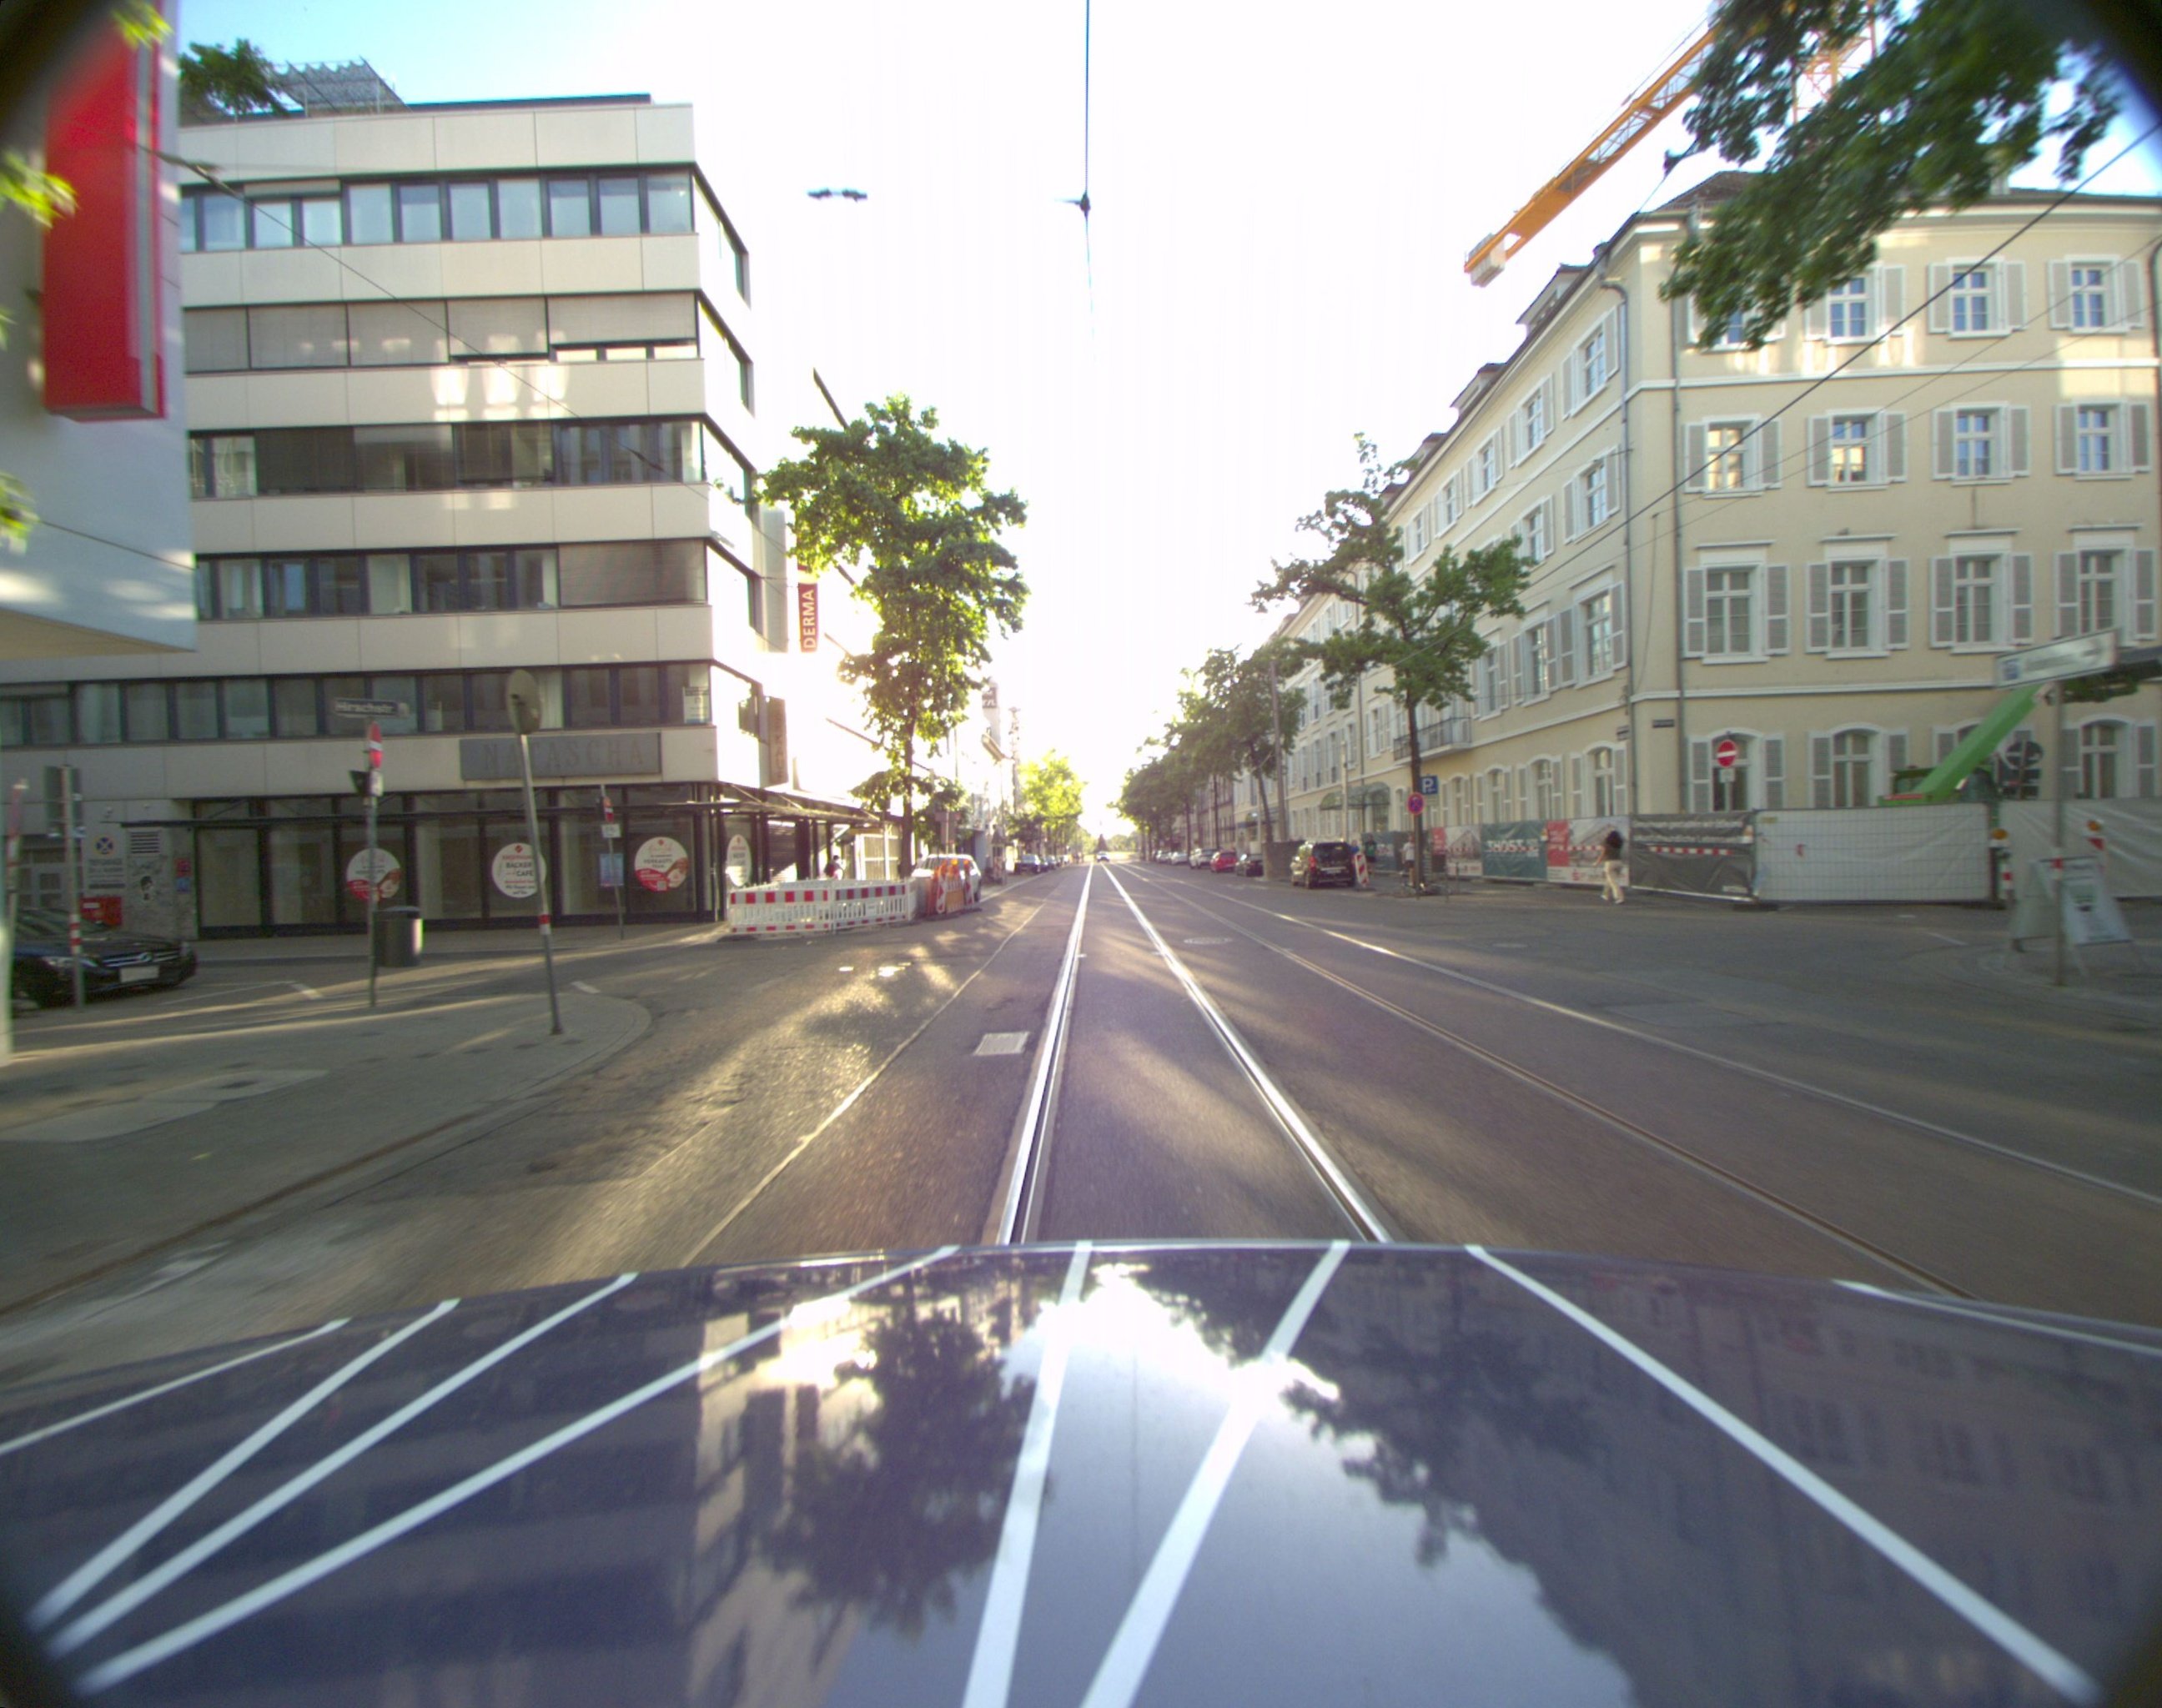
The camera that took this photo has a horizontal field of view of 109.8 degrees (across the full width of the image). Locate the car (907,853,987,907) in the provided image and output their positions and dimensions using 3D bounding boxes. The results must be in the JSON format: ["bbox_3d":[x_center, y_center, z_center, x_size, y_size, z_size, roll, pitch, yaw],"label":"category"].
[{"bbox_3d":[-4.711,0.859,27.442,2.028,1.727,4.906,1,0,0],"label":"car"}]

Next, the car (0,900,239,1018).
[{"bbox_3d":[-15.842,1.563,11.383,4.327,1.410,1.796,-2,2,0],"label":"car"}]

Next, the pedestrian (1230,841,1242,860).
[{"bbox_3d":[13.409,-0.307,65.681,0.746,1.571,0.933,-4,1,1],"label":"pedestrian"}]

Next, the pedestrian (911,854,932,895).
[{"bbox_3d":[-7.108,0.911,33.889,0.707,1.820,0.634,-2,1,1],"label":"pedestrian"}]

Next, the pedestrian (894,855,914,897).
[{"bbox_3d":[-7.846,0.981,33.682,0.690,1.820,0.634,-2,1,1],"label":"pedestrian"}]

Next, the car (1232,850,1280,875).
[{"bbox_3d":[10.046,0.468,43.983,1.722,1.238,4.507,-5,0,1],"label":"car"}]

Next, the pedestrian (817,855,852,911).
[{"bbox_3d":[-8.406,0.979,25.932,0.835,1.886,0.918,-1,1,4],"label":"pedestrian"}]

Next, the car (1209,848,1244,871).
[{"bbox_3d":[10.015,0.322,52.683,1.664,1.397,4.141,-5,0,2],"label":"car"}]

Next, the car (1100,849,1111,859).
[{"bbox_3d":[4.276,-0.044,133.549,1.827,1.603,3.796,-2,0,2],"label":"car"}]

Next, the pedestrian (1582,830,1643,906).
[{"bbox_3d":[12.043,0.318,17.243,0.709,1.646,0.967,-2,0,3],"label":"pedestrian"}]

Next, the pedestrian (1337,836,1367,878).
[{"bbox_3d":[11.913,0.136,33.444,0.867,1.771,0.884,-5,1,1],"label":"pedestrian"}]

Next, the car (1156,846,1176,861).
[{"bbox_3d":[11.180,-0.068,100.278,1.952,1.731,4.765,-5,0,1],"label":"car"}]

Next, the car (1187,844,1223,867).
[{"bbox_3d":[10.164,0.084,62.509,1.870,1.679,4.950,-5,0,-2],"label":"car"}]

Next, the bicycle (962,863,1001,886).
[{"bbox_3d":[-5.066,1.035,38.741,1.816,1.128,0.841,0,2,9],"label":"bicycle"}]

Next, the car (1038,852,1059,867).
[{"bbox_3d":[-3.451,0.596,81.076,1.770,1.502,4.287,-2,0,2],"label":"car"}]

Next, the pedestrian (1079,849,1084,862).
[{"bbox_3d":[0.081,0.223,105.209,0.705,1.858,0.792,-2,1,-1],"label":"pedestrian"}]

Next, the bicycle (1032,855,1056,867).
[{"bbox_3d":[-3.796,0.748,78.385,2.325,1.181,0.751,-2,1,3],"label":"bicycle"}]

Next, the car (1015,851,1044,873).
[{"bbox_3d":[-4.314,0.646,64.027,1.985,1.679,4.873,1,0,1],"label":"car"}]

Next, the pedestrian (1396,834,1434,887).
[{"bbox_3d":[11.573,0.217,26.353,0.776,1.782,0.984,-4,1,3],"label":"pedestrian"}]

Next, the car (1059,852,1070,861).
[{"bbox_3d":[-2.686,0.416,123.002,1.564,1.391,3.697,1,0,1],"label":"car"}]

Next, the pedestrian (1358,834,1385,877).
[{"bbox_3d":[12.766,0.071,33.388,0.721,1.802,0.876,-5,1,1],"label":"pedestrian"}]

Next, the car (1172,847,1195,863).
[{"bbox_3d":[10.867,0.119,80.865,1.897,1.458,4.617,-5,0,2],"label":"car"}]

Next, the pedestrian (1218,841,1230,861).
[{"bbox_3d":[12.404,-0.255,65.873,0.746,1.732,0.933,-4,1,2],"label":"pedestrian"}]

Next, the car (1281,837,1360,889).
[{"bbox_3d":[9.487,0.323,30.449,1.862,1.821,4.559,-3,0,3],"label":"car"}]

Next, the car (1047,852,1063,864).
[{"bbox_3d":[-3.330,0.495,98.805,1.798,1.502,3.986,1,0,1],"label":"car"}]

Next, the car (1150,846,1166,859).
[{"bbox_3d":[11.664,-0.221,115.146,1.931,1.946,4.765,-1,0,1],"label":"car"}]

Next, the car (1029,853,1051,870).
[{"bbox_3d":[-3.904,0.672,71.874,1.871,1.502,4.242,1,0,-7],"label":"car"}]

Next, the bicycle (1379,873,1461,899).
[{"bbox_3d":[9.736,0.919,21.910,1.799,0.605,1.282,-3,0,4],"label":"bicycle"}]
